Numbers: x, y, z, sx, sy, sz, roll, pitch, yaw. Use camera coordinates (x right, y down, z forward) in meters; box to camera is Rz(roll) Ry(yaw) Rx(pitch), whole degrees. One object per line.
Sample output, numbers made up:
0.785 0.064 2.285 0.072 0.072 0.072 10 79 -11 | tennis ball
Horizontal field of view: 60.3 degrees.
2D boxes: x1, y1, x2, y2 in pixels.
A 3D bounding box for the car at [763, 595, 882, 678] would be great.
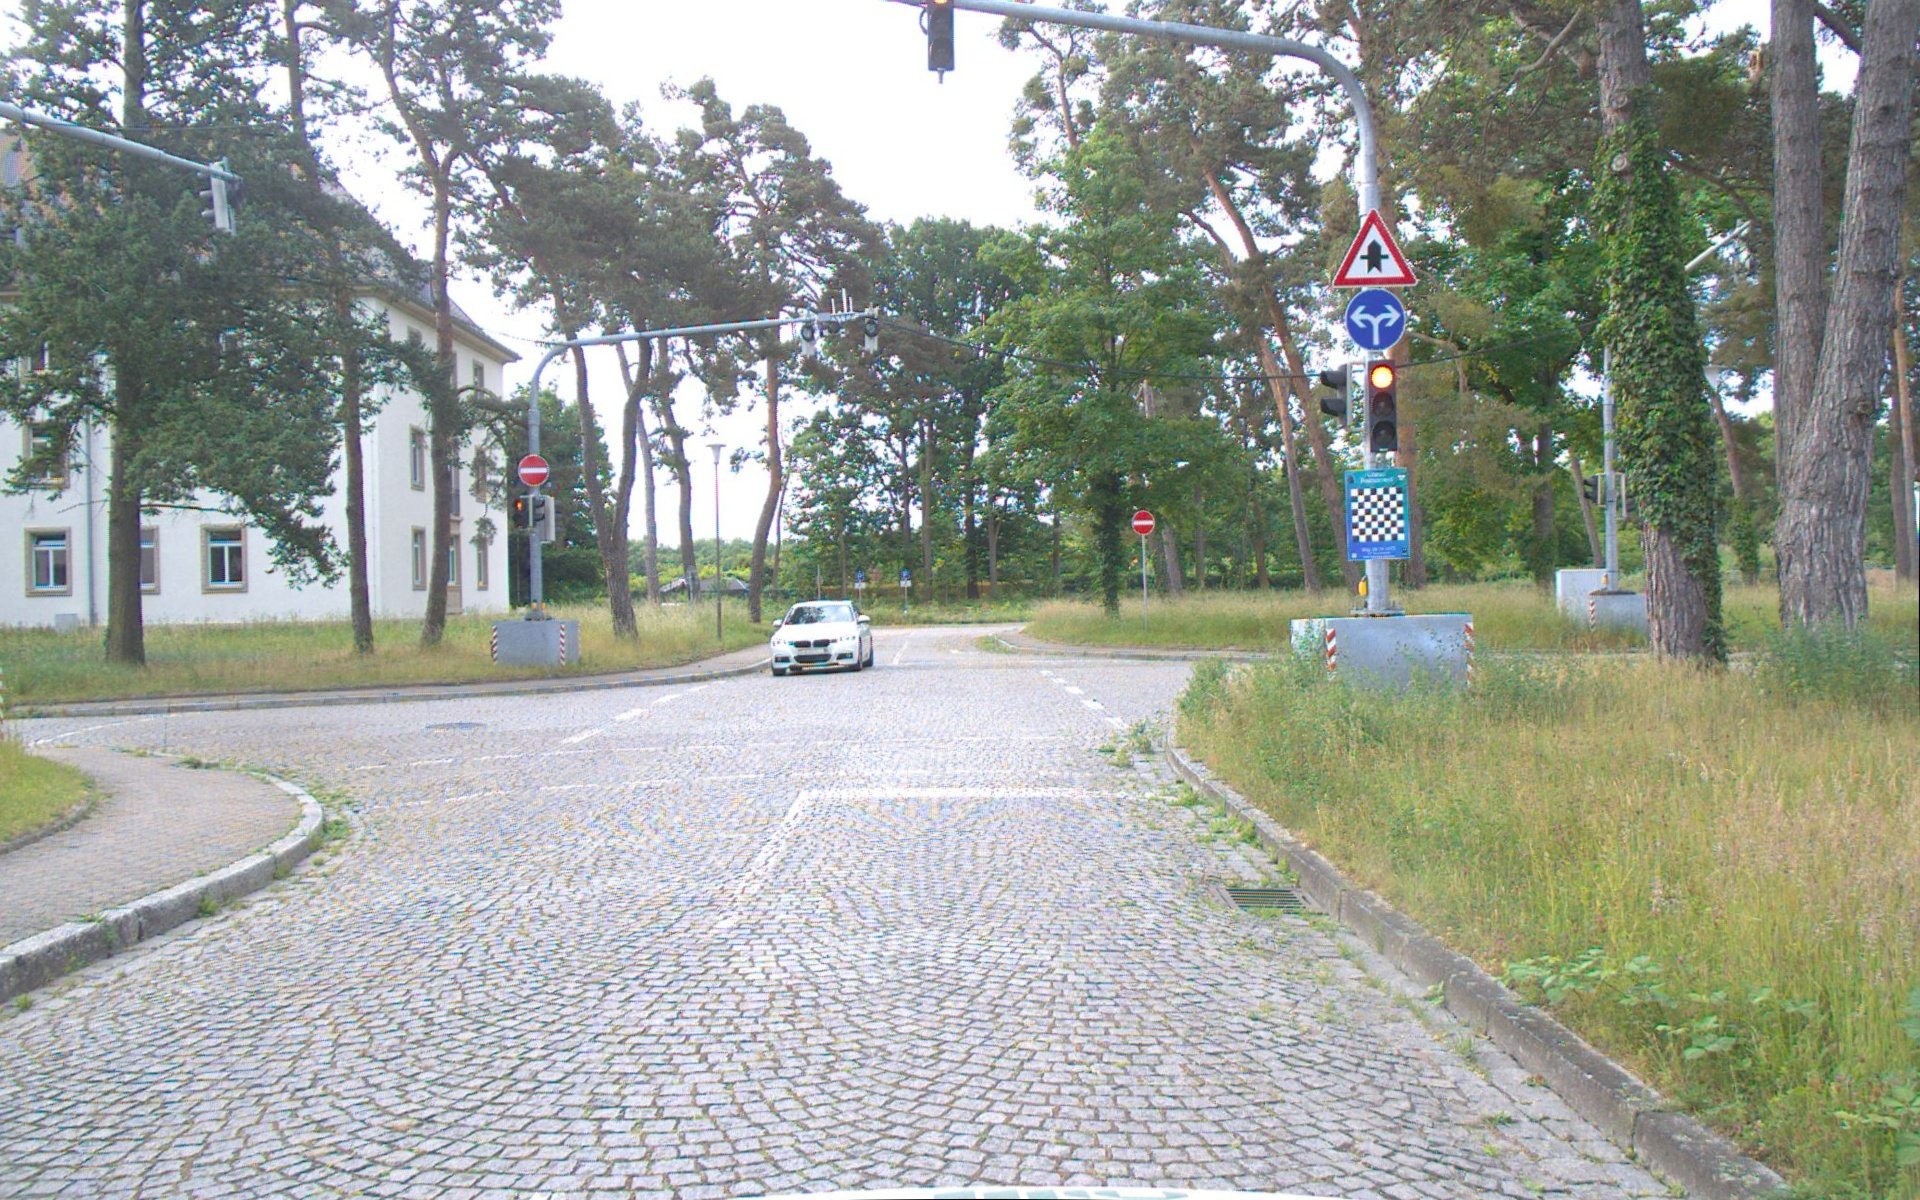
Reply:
-2.731 0.721 33.742 1.736 1.463 4.219 -4 -1 3 | car
